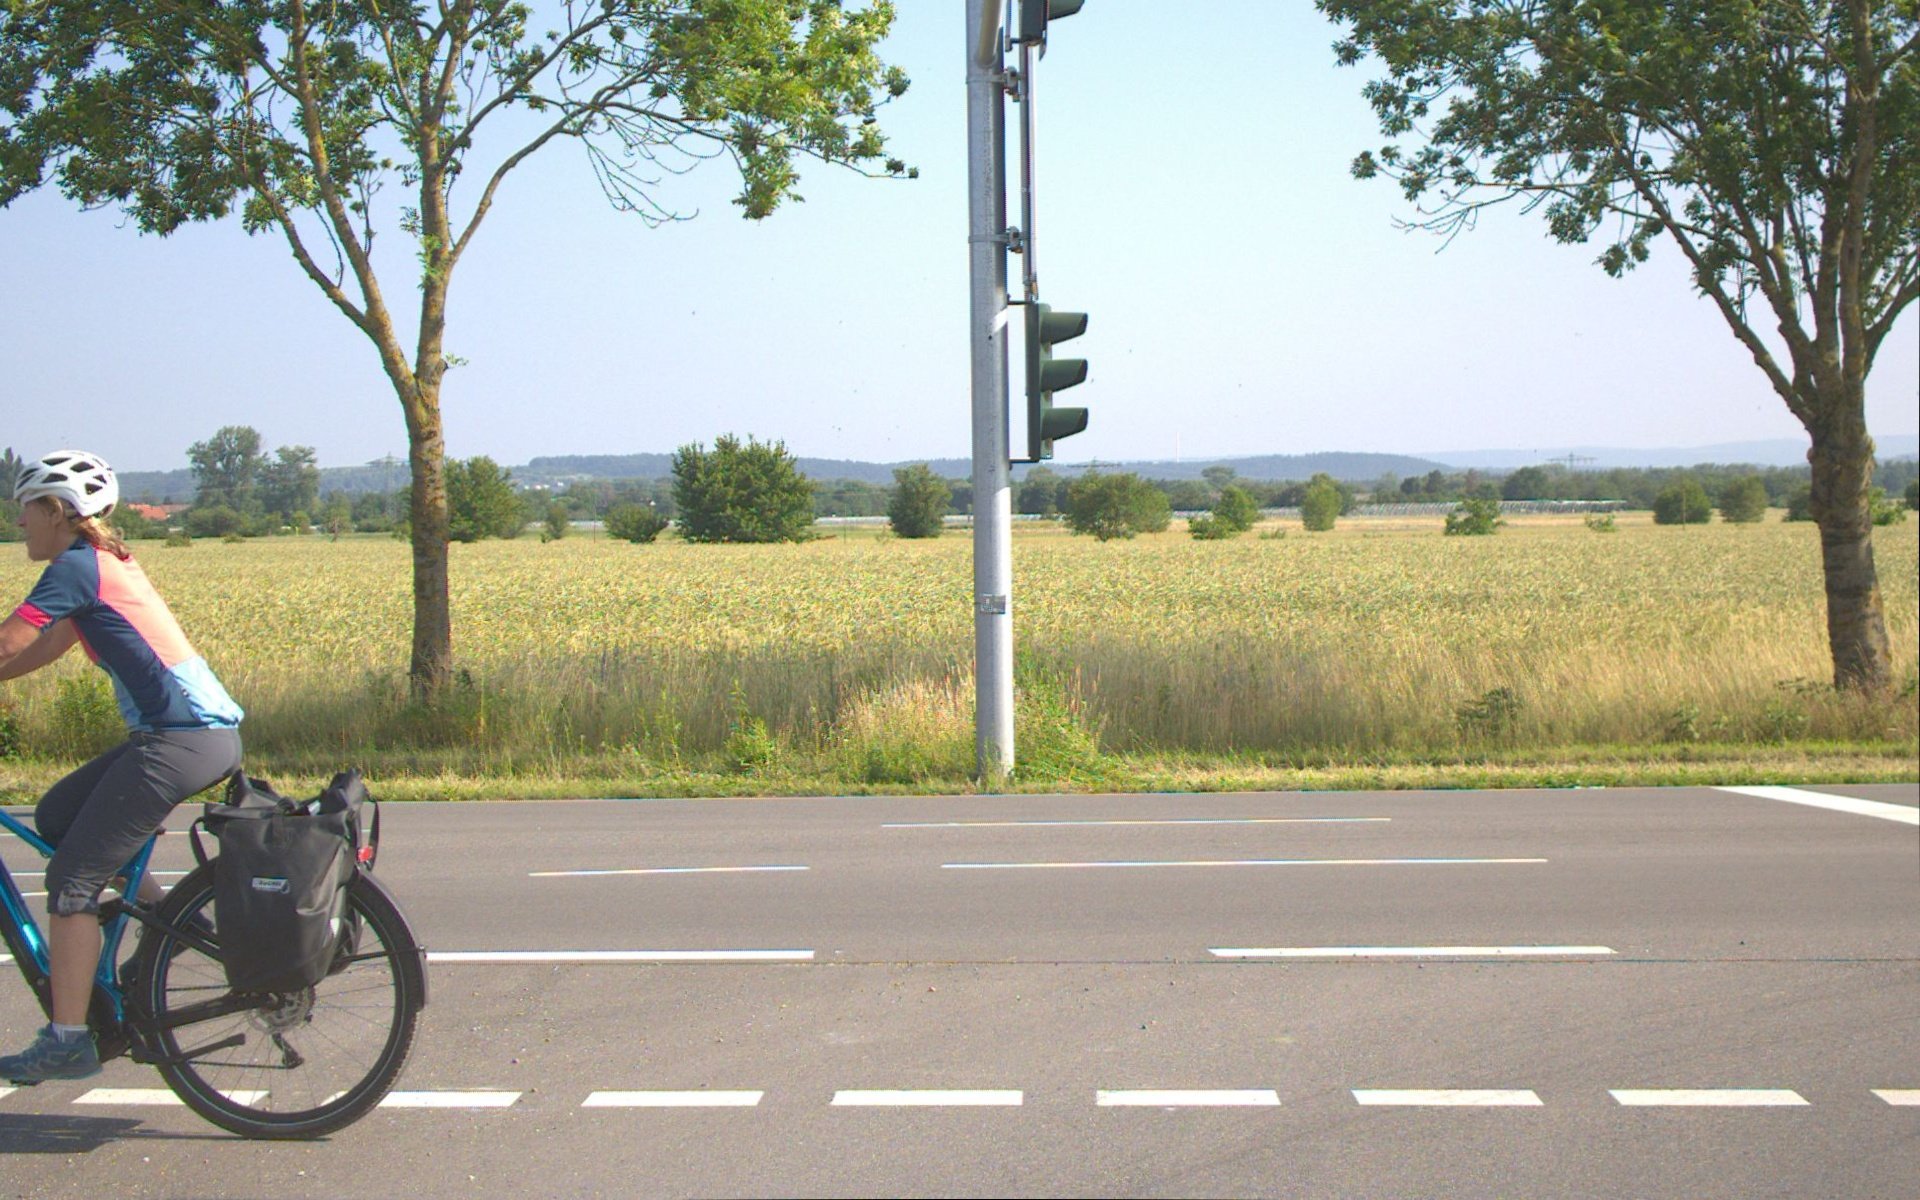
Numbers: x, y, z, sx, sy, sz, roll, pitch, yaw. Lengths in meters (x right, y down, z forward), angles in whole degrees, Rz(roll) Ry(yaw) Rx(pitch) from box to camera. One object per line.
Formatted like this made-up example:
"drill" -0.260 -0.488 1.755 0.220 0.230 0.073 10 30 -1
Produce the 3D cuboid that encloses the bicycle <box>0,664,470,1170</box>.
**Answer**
"bicycle" -2.339 0.764 8.614 2.155 1.182 0.890 0 0 -5

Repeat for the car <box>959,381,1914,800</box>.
"car" 3.074 -0.045 23.023 5.889 2.568 2.393 1 0 -7

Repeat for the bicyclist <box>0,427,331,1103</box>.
"bicyclist" -2.292 0.373 8.682 1.278 1.596 1.166 0 2 -5
